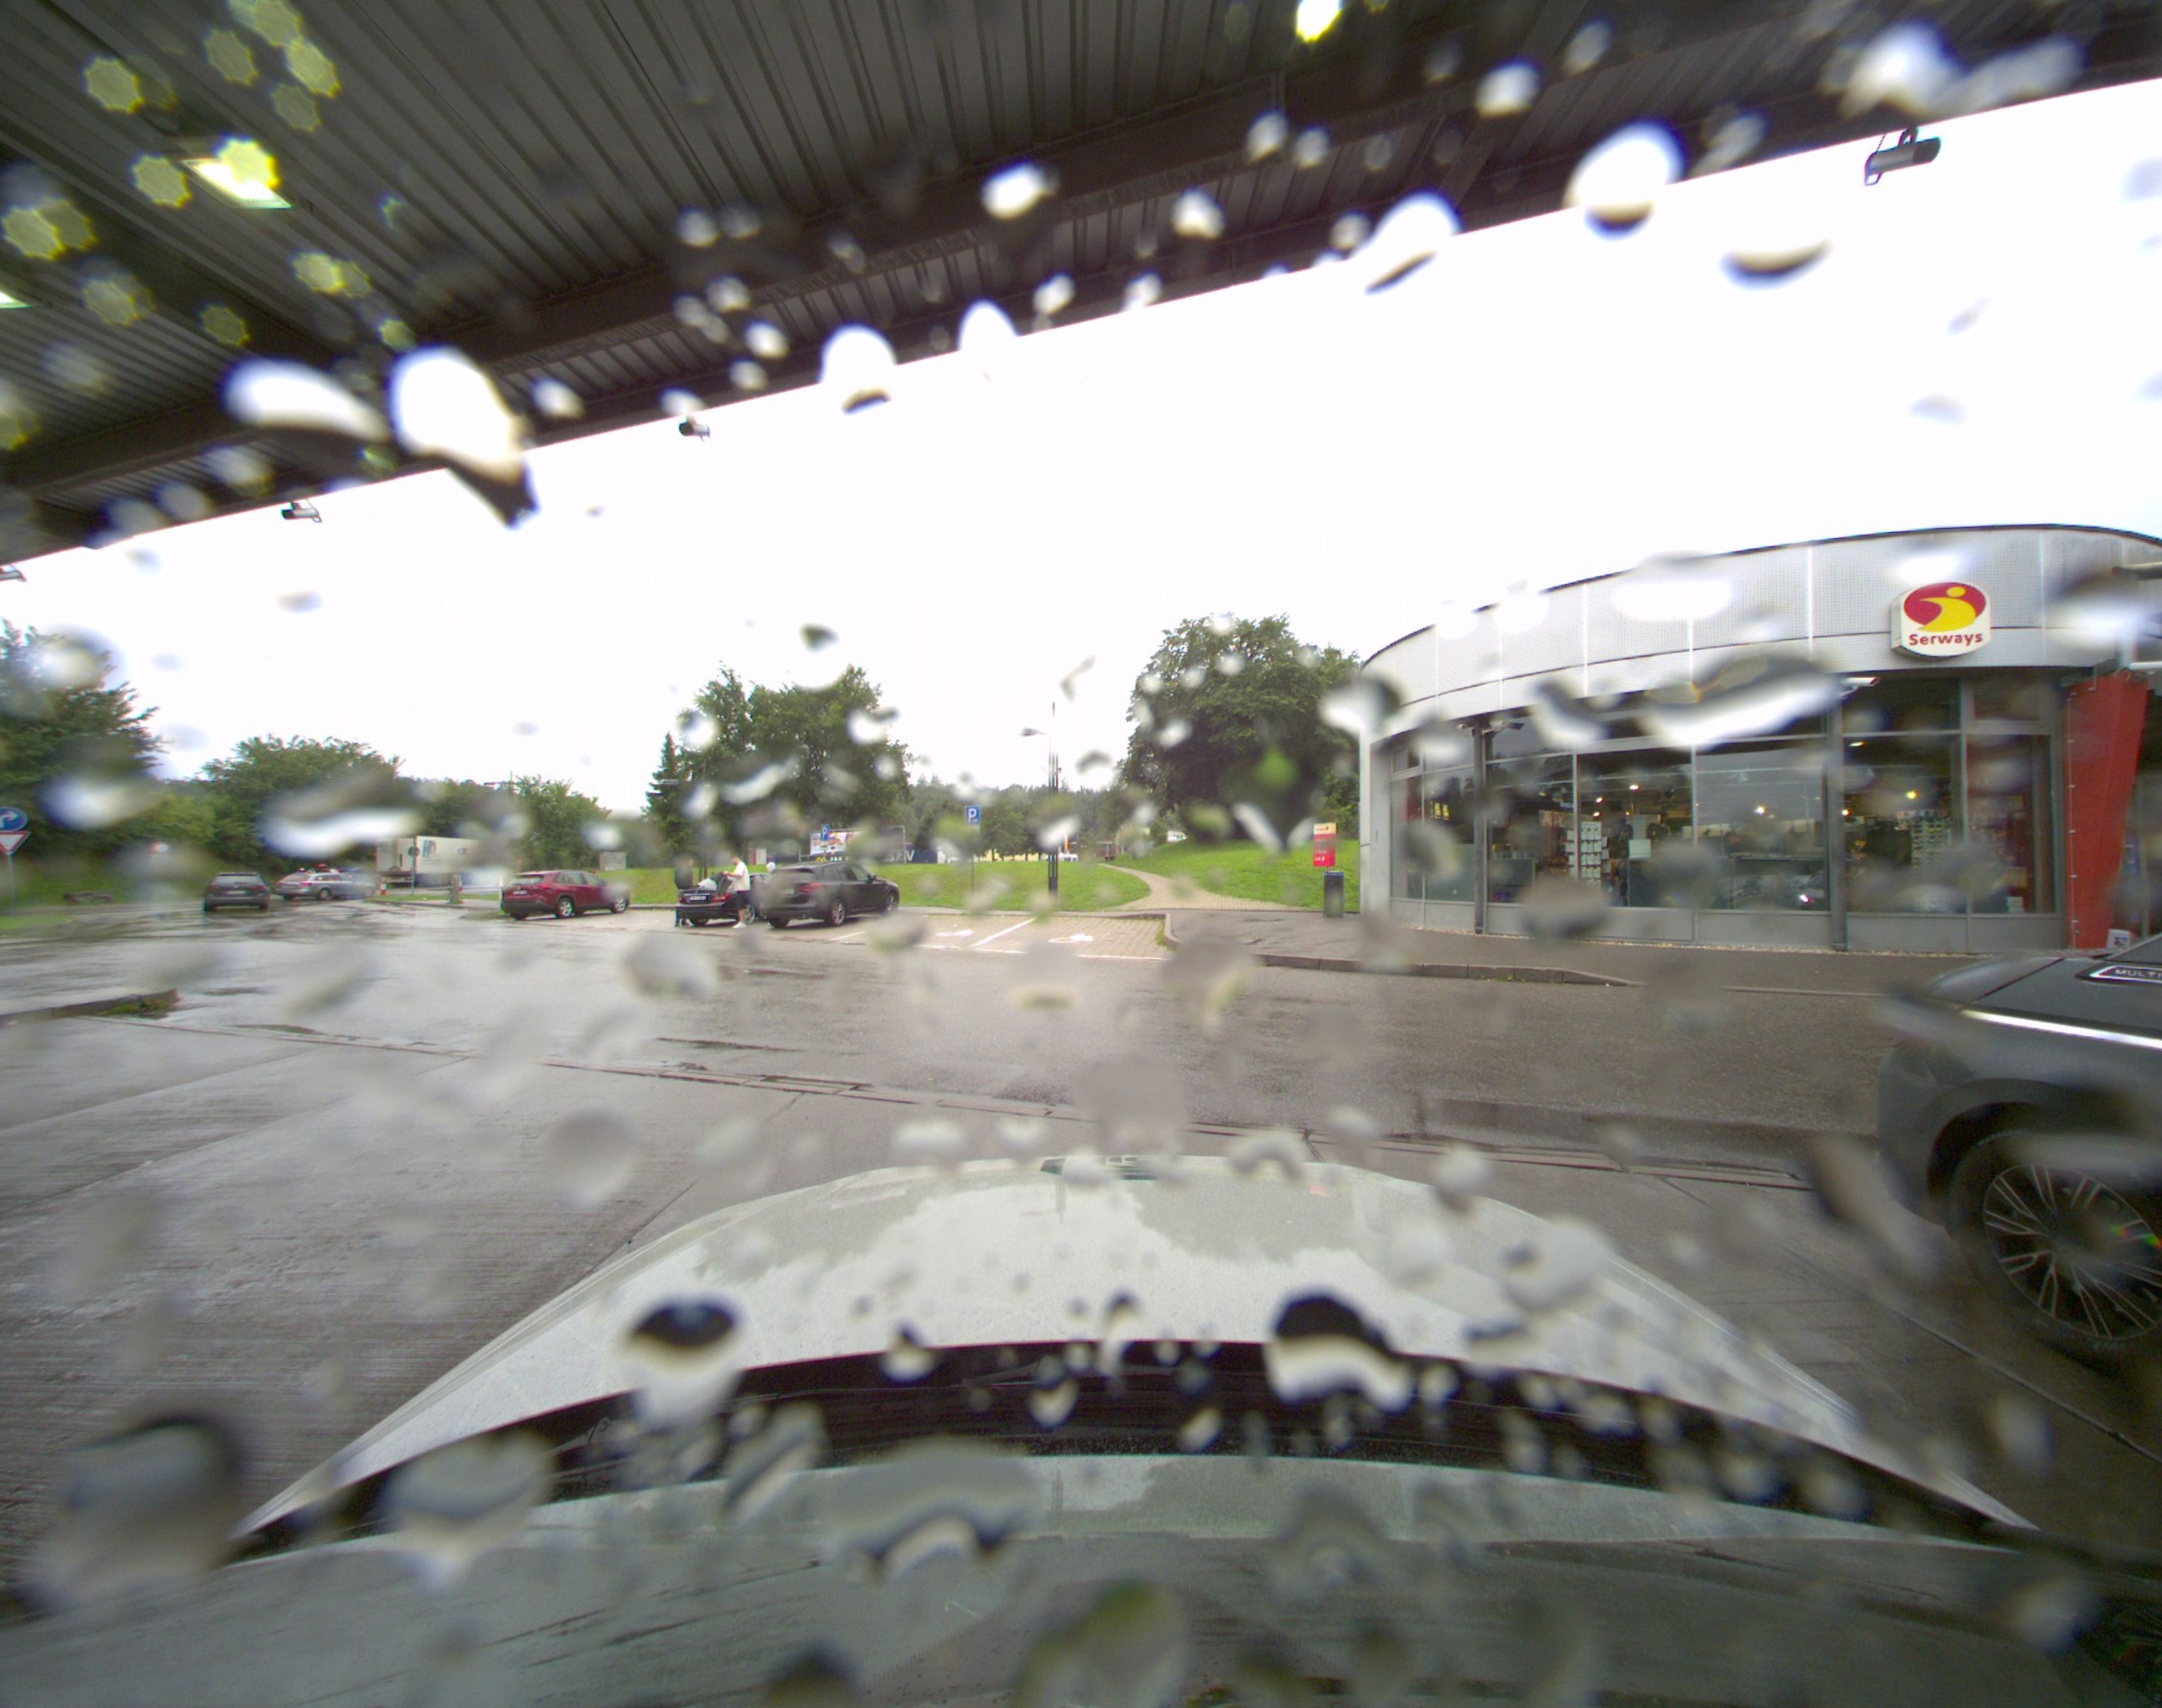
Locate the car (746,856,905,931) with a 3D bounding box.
[{"bbox_3d":[-6.648,0.969,21.778,2.002,1.711,4.360,-2,0,14],"label":"car"}]

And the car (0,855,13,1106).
[{"bbox_3d":[-7.966,0.799,2.674,1.854,1.608,5.273,0,-1,2],"label":"car"}]

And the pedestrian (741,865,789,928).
[{"bbox_3d":[-8.438,1.104,21.780,0.695,1.631,0.960,-1,-1,31],"label":"pedestrian"}]

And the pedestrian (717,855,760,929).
[{"bbox_3d":[-8.930,0.972,21.211,0.942,1.887,0.708,-1,-1,43],"label":"pedestrian"}]

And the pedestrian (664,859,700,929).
[{"bbox_3d":[-11.078,1.083,22.595,0.707,1.887,0.883,0,-1,-39],"label":"pedestrian"}]

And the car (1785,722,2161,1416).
[{"bbox_3d":[3.676,0.540,0.676,1.854,1.798,5.142,0,-1,2],"label":"car"}]

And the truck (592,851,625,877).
[{"bbox_3d":[-57.139,1.202,98.444,2.497,3.085,7.272,0,-1,-38],"label":"truck"}]

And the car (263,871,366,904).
[{"bbox_3d":[-41.015,1.746,43.694,1.766,1.628,3.998,-1,-1,-1],"label":"car"}]

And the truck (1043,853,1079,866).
[{"bbox_3d":[-3.249,0.884,134.103,5.356,2.014,2.381,-1,-1,26],"label":"truck"}]

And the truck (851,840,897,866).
[{"bbox_3d":[-24.185,-0.084,95.453,2.165,2.920,5.419,-1,-1,27],"label":"truck"}]

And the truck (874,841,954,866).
[{"bbox_3d":[-20.753,-0.052,102.344,2.165,2.920,13.175,-1,-1,26],"label":"truck"}]

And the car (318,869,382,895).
[{"bbox_3d":[-50.343,1.877,56.170,1.814,1.681,3.927,0,-1,-18],"label":"car"}]

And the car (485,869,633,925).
[{"bbox_3d":[-18.136,1.439,28.590,1.928,1.644,4.352,-2,0,7],"label":"car"}]

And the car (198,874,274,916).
[{"bbox_3d":[-35.990,1.712,34.771,2.011,1.678,3.951,0,-1,-43],"label":"car"}]

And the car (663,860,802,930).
[{"bbox_3d":[-9.834,1.080,23.422,2.010,1.711,4.344,-2,0,1],"label":"car"}]

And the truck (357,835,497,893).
[{"bbox_3d":[-55.444,0.838,69.974,3.550,4.340,16.899,0,-1,-18],"label":"truck"}]
